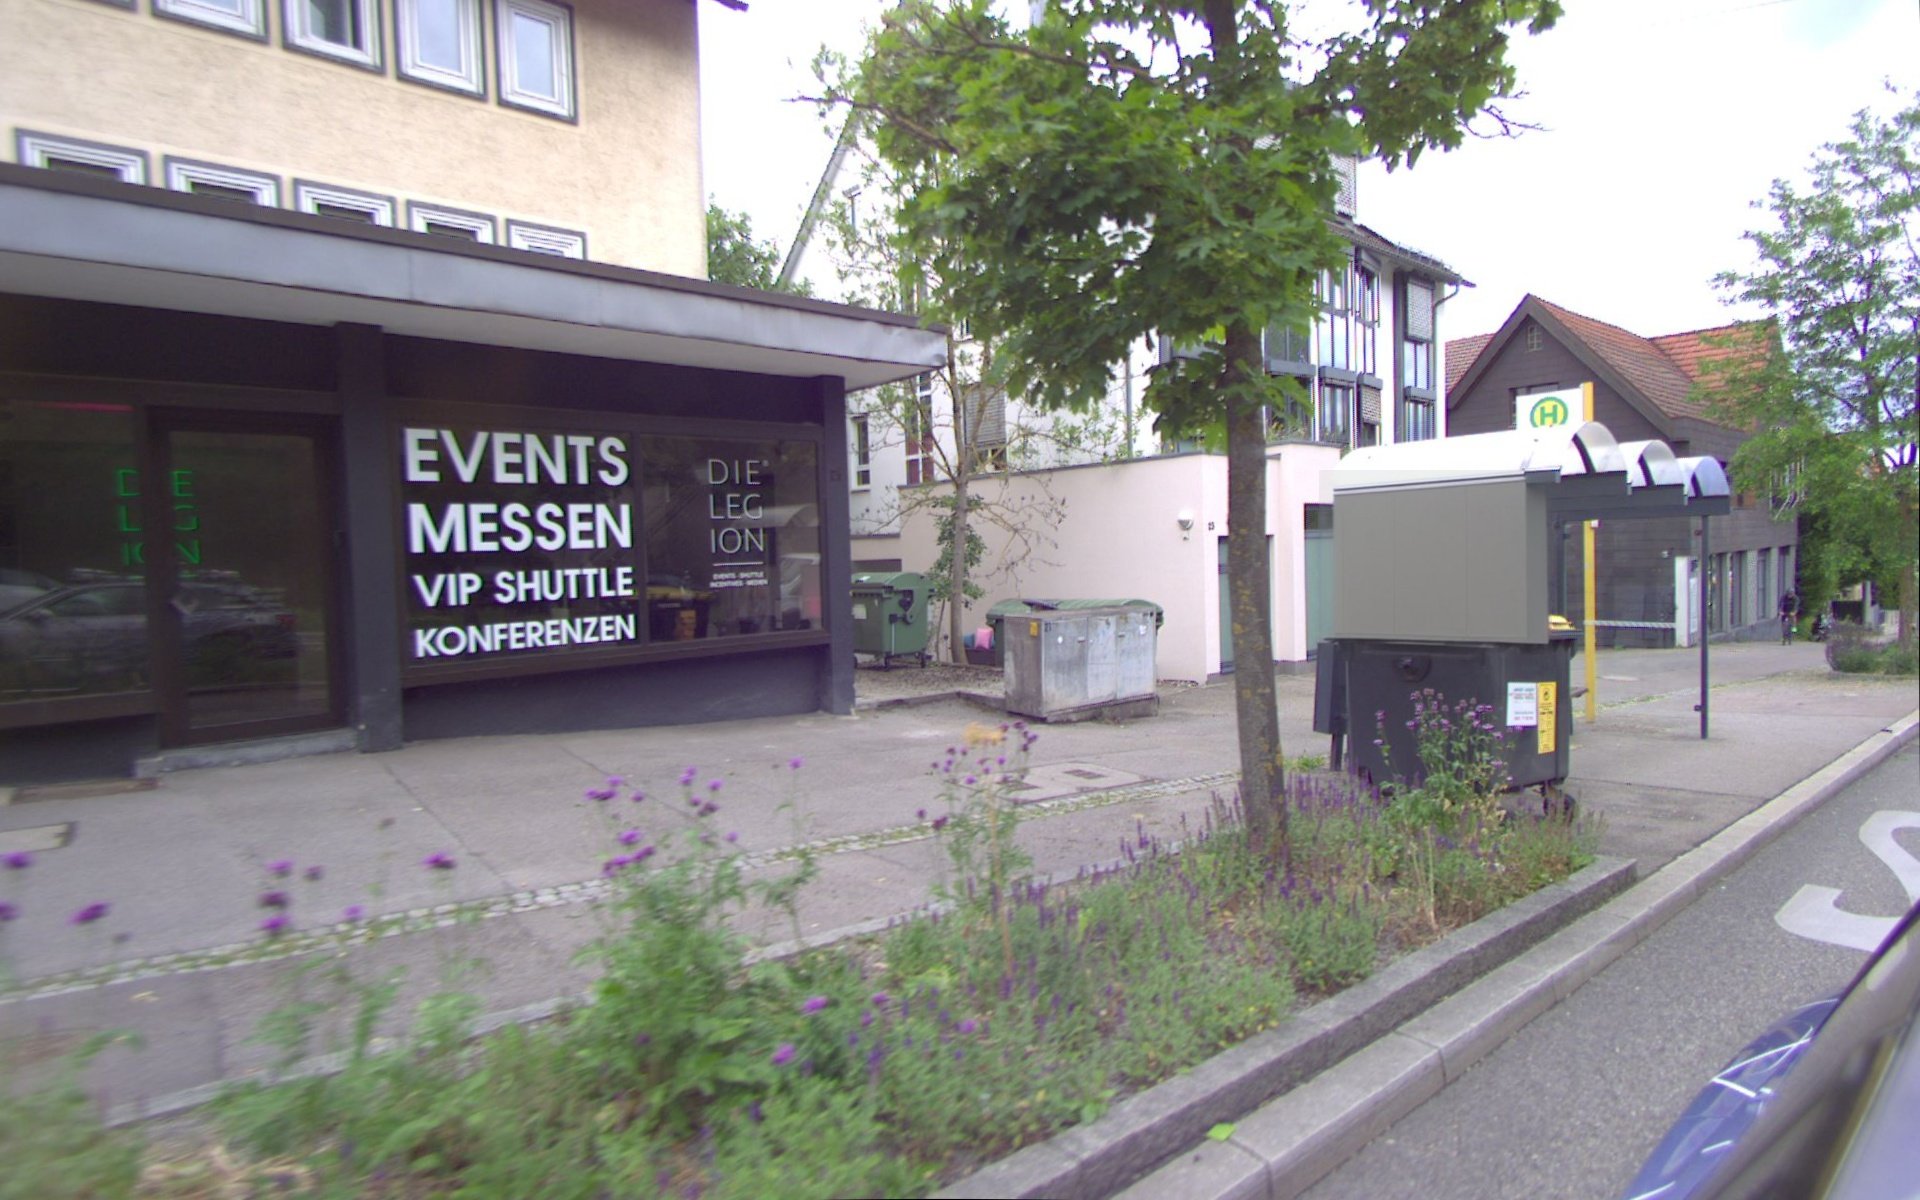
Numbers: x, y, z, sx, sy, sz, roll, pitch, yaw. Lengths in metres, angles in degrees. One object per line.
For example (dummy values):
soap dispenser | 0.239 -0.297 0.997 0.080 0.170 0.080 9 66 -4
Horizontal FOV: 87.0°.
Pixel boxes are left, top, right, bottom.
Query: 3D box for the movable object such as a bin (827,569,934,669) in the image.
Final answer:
movable object such as a bin | -1.218 0.271 15.390 1.051 1.427 1.343 0 0 -38

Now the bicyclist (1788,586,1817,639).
bicyclist | 26.442 0.384 31.772 0.930 1.654 0.539 1 -1 -40

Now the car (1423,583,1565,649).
car | 14.121 0.474 26.817 2.985 1.484 1.642 -6 -6 40

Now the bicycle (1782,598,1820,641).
bicycle | 26.293 0.613 31.643 2.002 1.278 0.572 2 0 -41

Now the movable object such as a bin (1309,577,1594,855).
movable object such as a bin | 3.096 0.622 6.357 1.509 1.500 1.088 0 0 -40

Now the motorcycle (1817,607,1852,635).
motorcycle | 34.725 0.817 40.175 1.931 1.064 0.697 1 1 -39

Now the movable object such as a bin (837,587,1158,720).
movable object such as a bin | 0.565 0.594 13.207 3.927 1.470 1.893 0 0 -39
